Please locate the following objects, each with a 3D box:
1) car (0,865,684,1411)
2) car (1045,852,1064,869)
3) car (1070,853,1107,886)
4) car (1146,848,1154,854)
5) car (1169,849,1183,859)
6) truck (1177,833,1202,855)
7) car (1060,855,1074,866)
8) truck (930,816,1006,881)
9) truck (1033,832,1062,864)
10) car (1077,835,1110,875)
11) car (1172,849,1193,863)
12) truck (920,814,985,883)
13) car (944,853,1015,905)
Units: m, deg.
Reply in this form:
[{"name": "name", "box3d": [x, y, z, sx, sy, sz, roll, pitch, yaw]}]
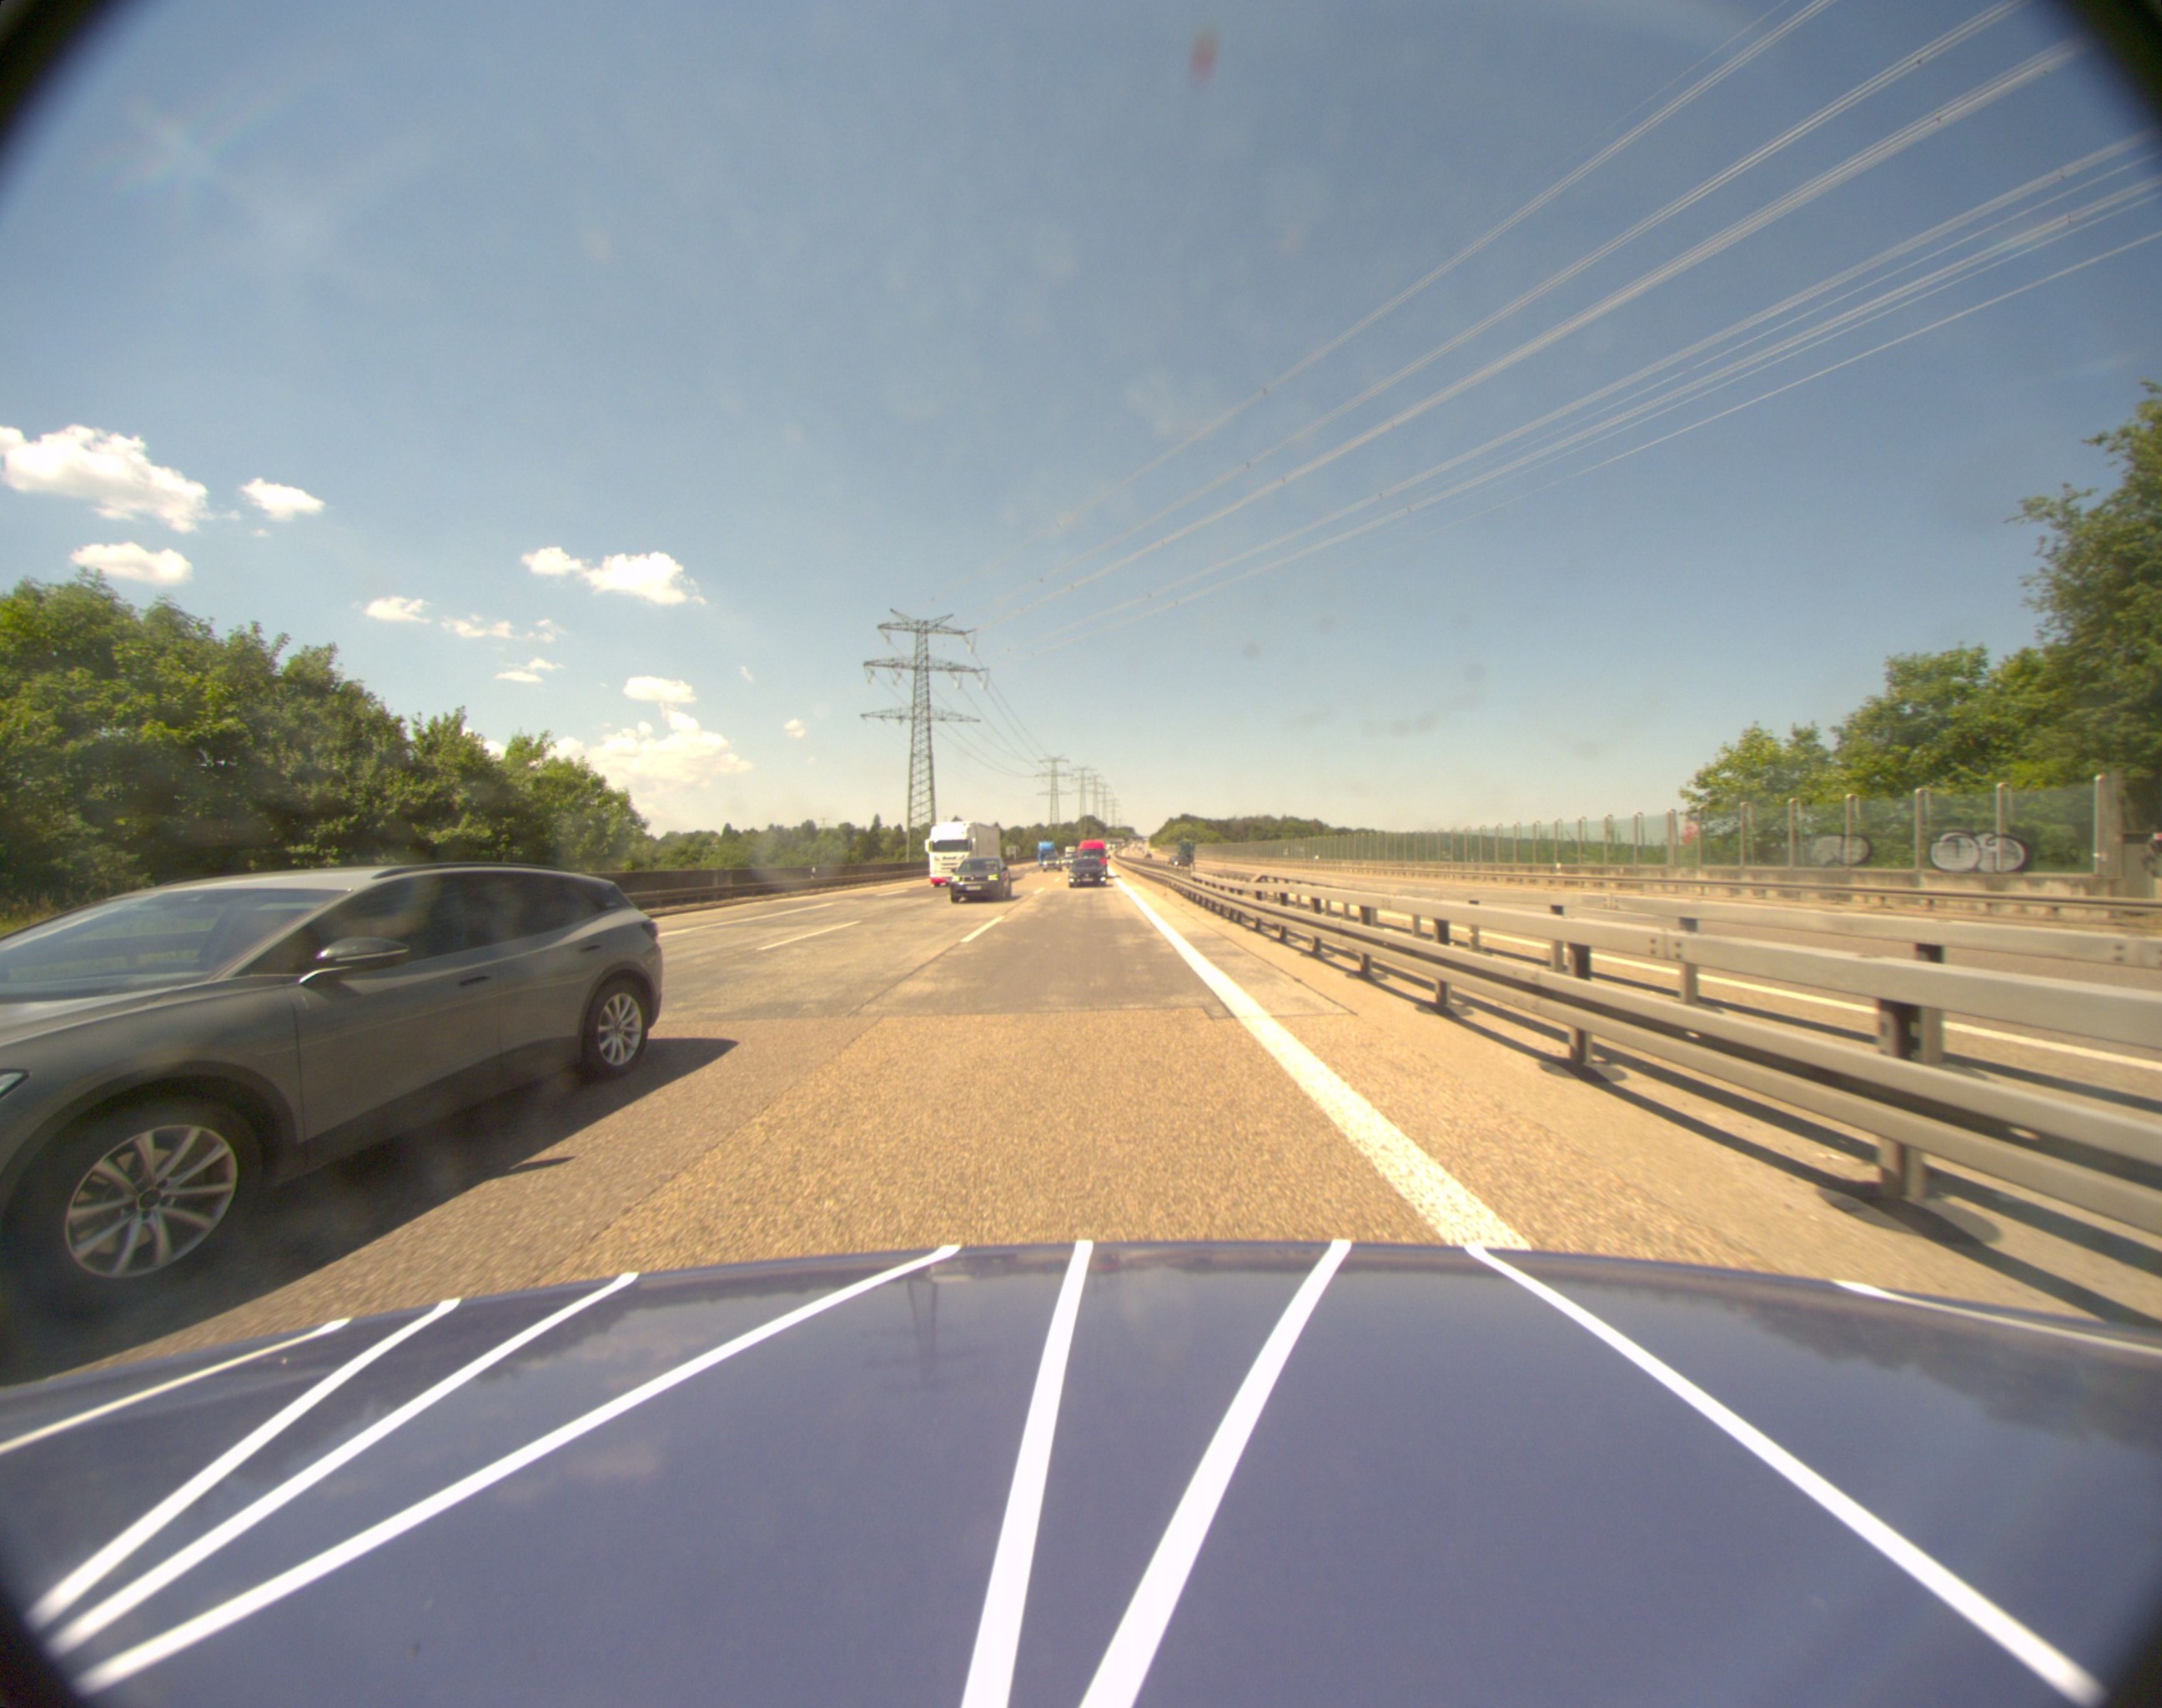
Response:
[{"name": "car", "box3d": [-4.344, 0.969, 4.081, 1.873, 1.627, 4.585, -3, 1, 1]}, {"name": "car", "box3d": [-2.685, 0.670, 77.858, 1.749, 1.691, 4.088, 0, 1, 1]}, {"name": "car", "box3d": [0.377, 0.719, 37.760, 1.735, 1.535, 3.750, 0, 1, 1]}, {"name": "car", "box3d": [18.505, -0.798, 204.123, 1.955, 1.557, 4.047, 0, 1, 1]}, {"name": "car", "box3d": [16.040, -0.038, 128.555, 1.786, 1.596, 4.047, -1, 0, -1]}, {"name": "truck", "box3d": [21.080, -1.843, 147.912, 3.315, 4.114, 11.090, 1, 0, 1]}, {"name": "car", "box3d": [-2.063, 1.009, 114.633, 1.879, 1.591, 3.688, 0, 1, 1]}, {"name": "truck", "box3d": [-7.619, -0.351, 53.167, 3.076, 3.885, 12.503, -2, 0, 1]}, {"name": "truck", "box3d": [-5.669, -1.014, 130.966, 3.797, 4.971, 14.923, -2, 1, 1]}, {"name": "car", "box3d": [0.874, 0.059, 51.232, 2.100, 2.598, 4.496, 0, 1, 1]}, {"name": "car", "box3d": [11.034, 0.241, 82.888, 1.786, 1.465, 4.488, 0, 1, 0]}, {"name": "truck", "box3d": [-7.731, -0.312, 46.134, 3.076, 3.885, 3.847, -2, 1, 1]}, {"name": "car", "box3d": [-3.644, 0.852, 28.018, 1.955, 1.636, 4.047, -3, 1, 1]}]
